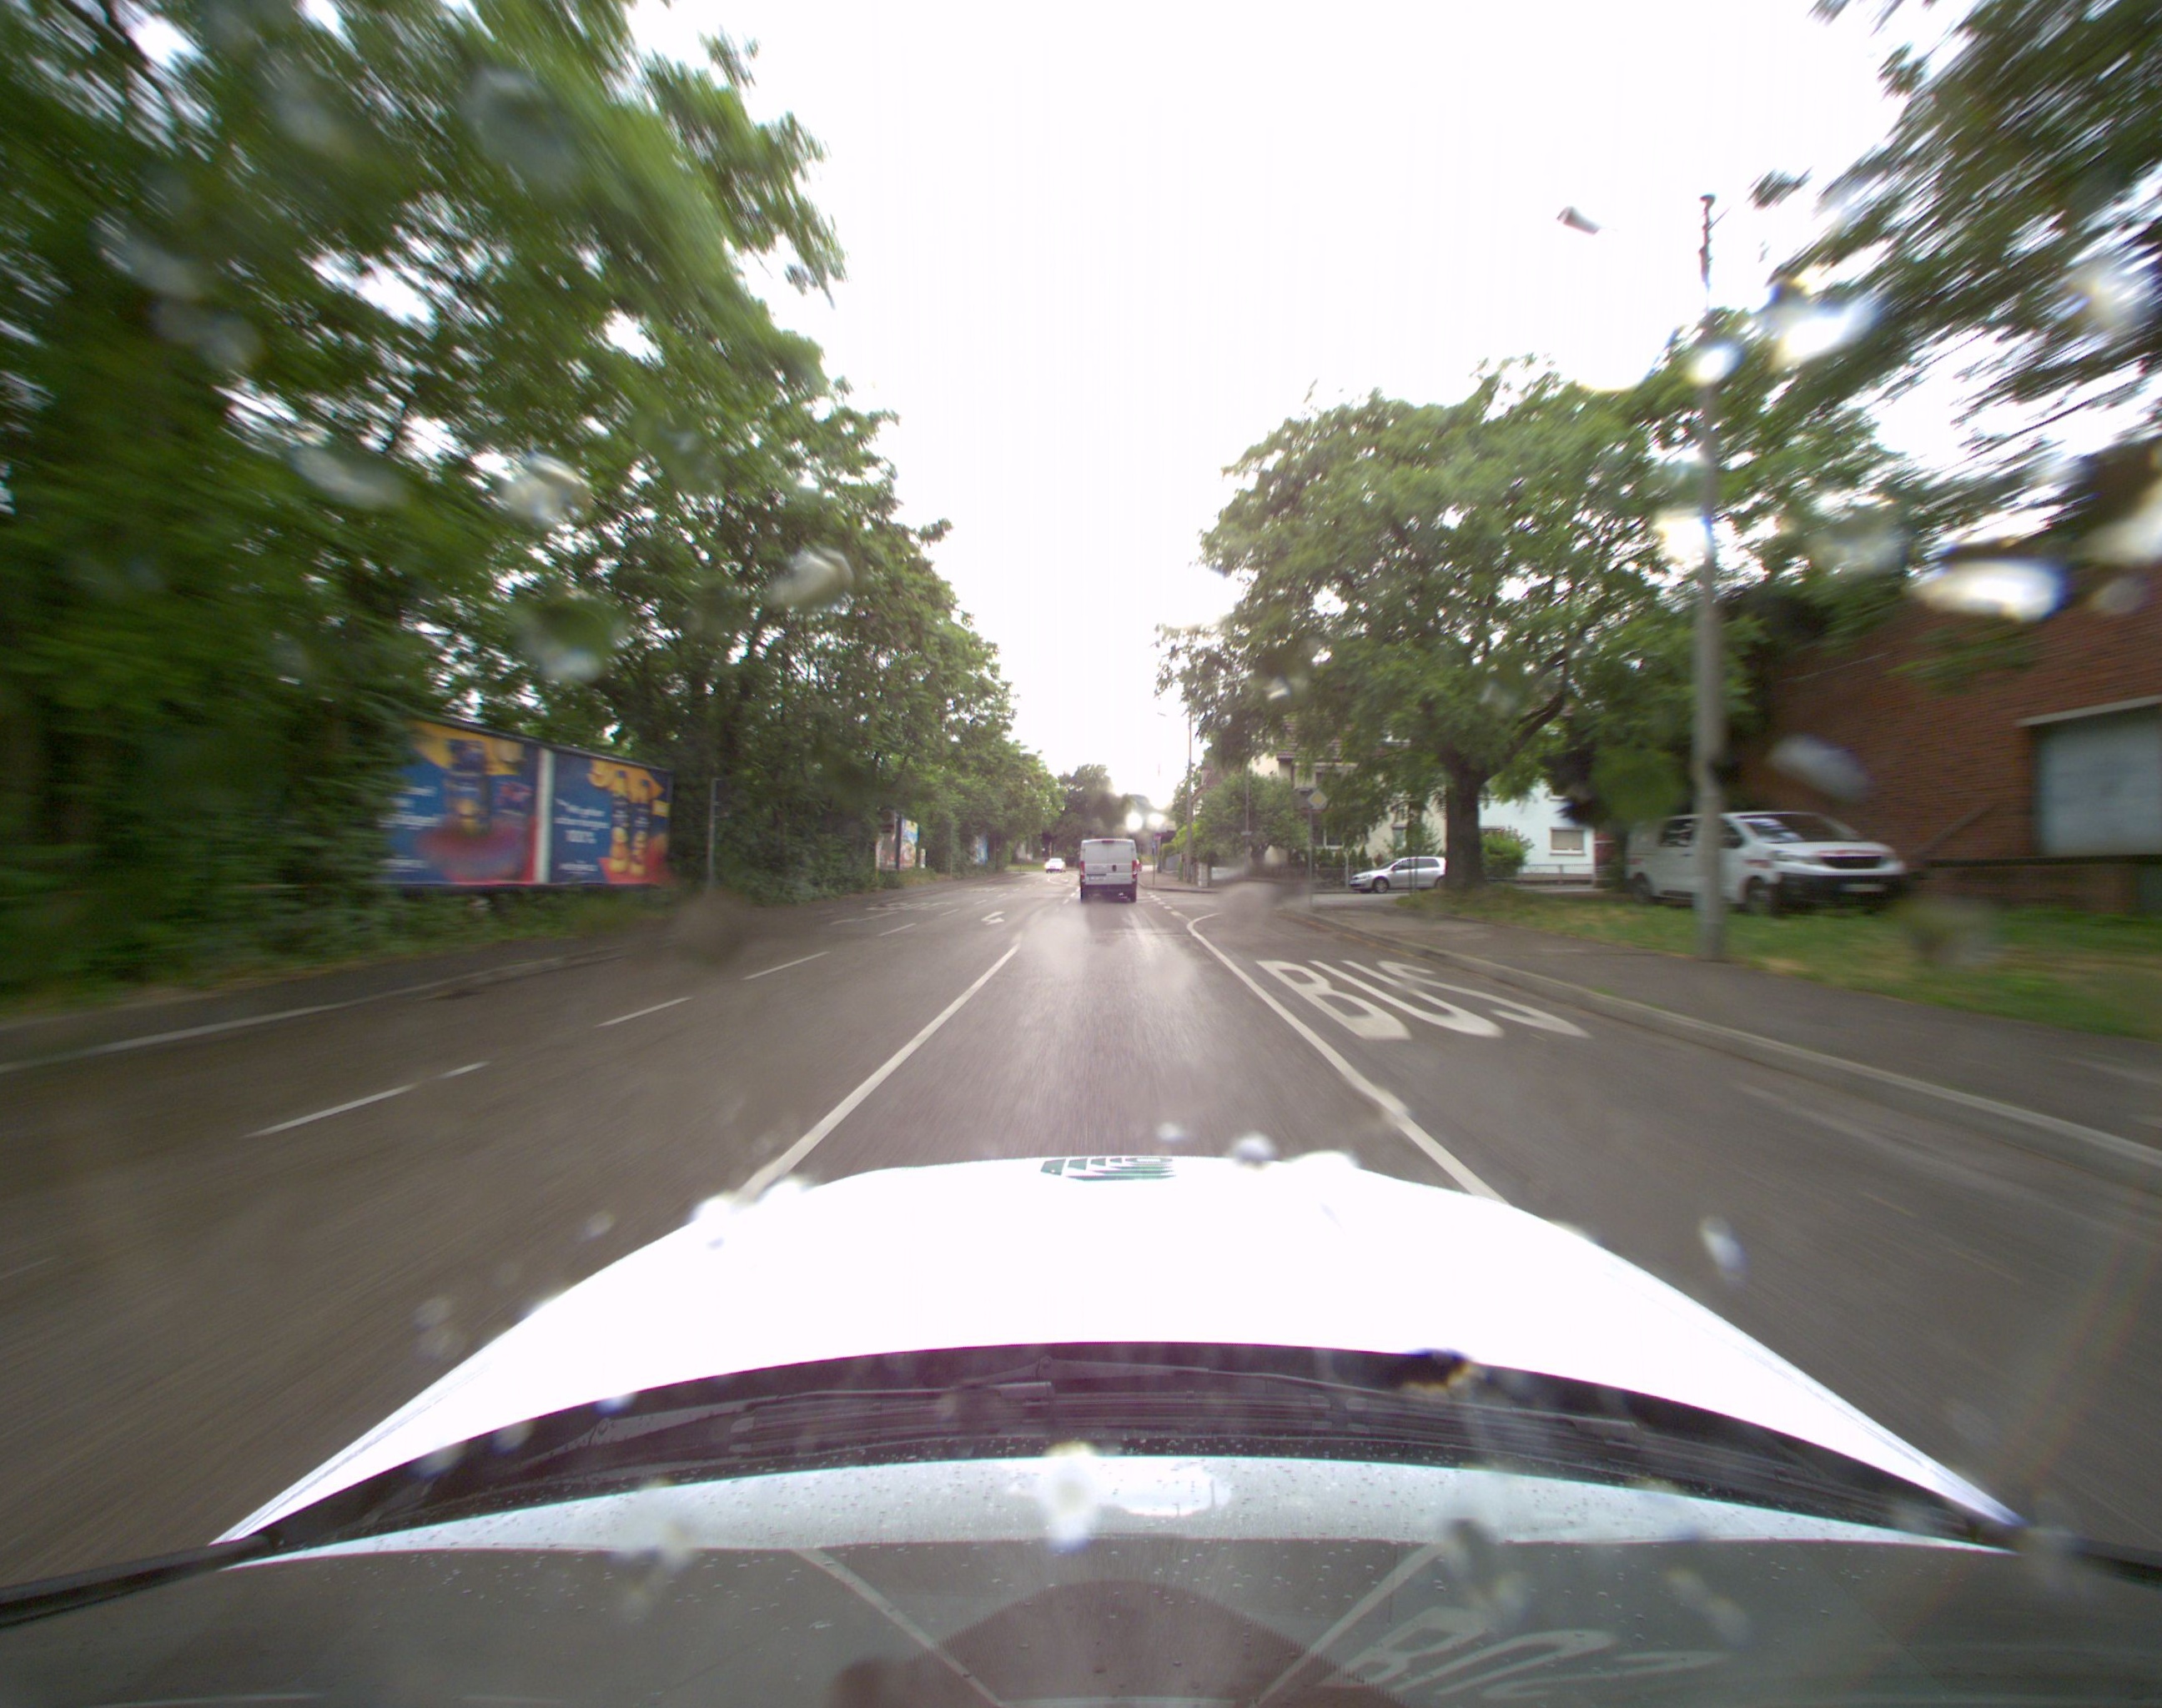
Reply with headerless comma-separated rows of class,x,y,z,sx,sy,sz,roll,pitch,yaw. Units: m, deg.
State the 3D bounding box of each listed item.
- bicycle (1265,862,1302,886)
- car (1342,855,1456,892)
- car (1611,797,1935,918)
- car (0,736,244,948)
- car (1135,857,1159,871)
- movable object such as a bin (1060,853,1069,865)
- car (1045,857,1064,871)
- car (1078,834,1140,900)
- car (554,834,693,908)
bicycle,9.261,0.914,37.264,1.563,1.115,0.458,-1,-1,5
car,12.968,0.818,33.325,3.975,1.423,1.703,-1,-2,-1
car,12.414,0.074,15.232,1.984,1.805,5.153,2,0,5
car,-14.912,-0.218,11.799,2.118,2.533,5.557,2,0,-27
car,7.704,1.191,95.238,1.750,1.511,3.774,1,0,21
movable object such as a bin,-2.249,0.701,109.510,0.935,1.564,1.132,6,0,6
car,-2.694,1.011,82.954,1.648,1.417,3.937,-1,0,1
car,1.023,0.487,30.832,2.138,2.283,5.063,1,-1,1
car,-13.428,0.441,23.869,3.949,1.937,2.012,2,0,36
